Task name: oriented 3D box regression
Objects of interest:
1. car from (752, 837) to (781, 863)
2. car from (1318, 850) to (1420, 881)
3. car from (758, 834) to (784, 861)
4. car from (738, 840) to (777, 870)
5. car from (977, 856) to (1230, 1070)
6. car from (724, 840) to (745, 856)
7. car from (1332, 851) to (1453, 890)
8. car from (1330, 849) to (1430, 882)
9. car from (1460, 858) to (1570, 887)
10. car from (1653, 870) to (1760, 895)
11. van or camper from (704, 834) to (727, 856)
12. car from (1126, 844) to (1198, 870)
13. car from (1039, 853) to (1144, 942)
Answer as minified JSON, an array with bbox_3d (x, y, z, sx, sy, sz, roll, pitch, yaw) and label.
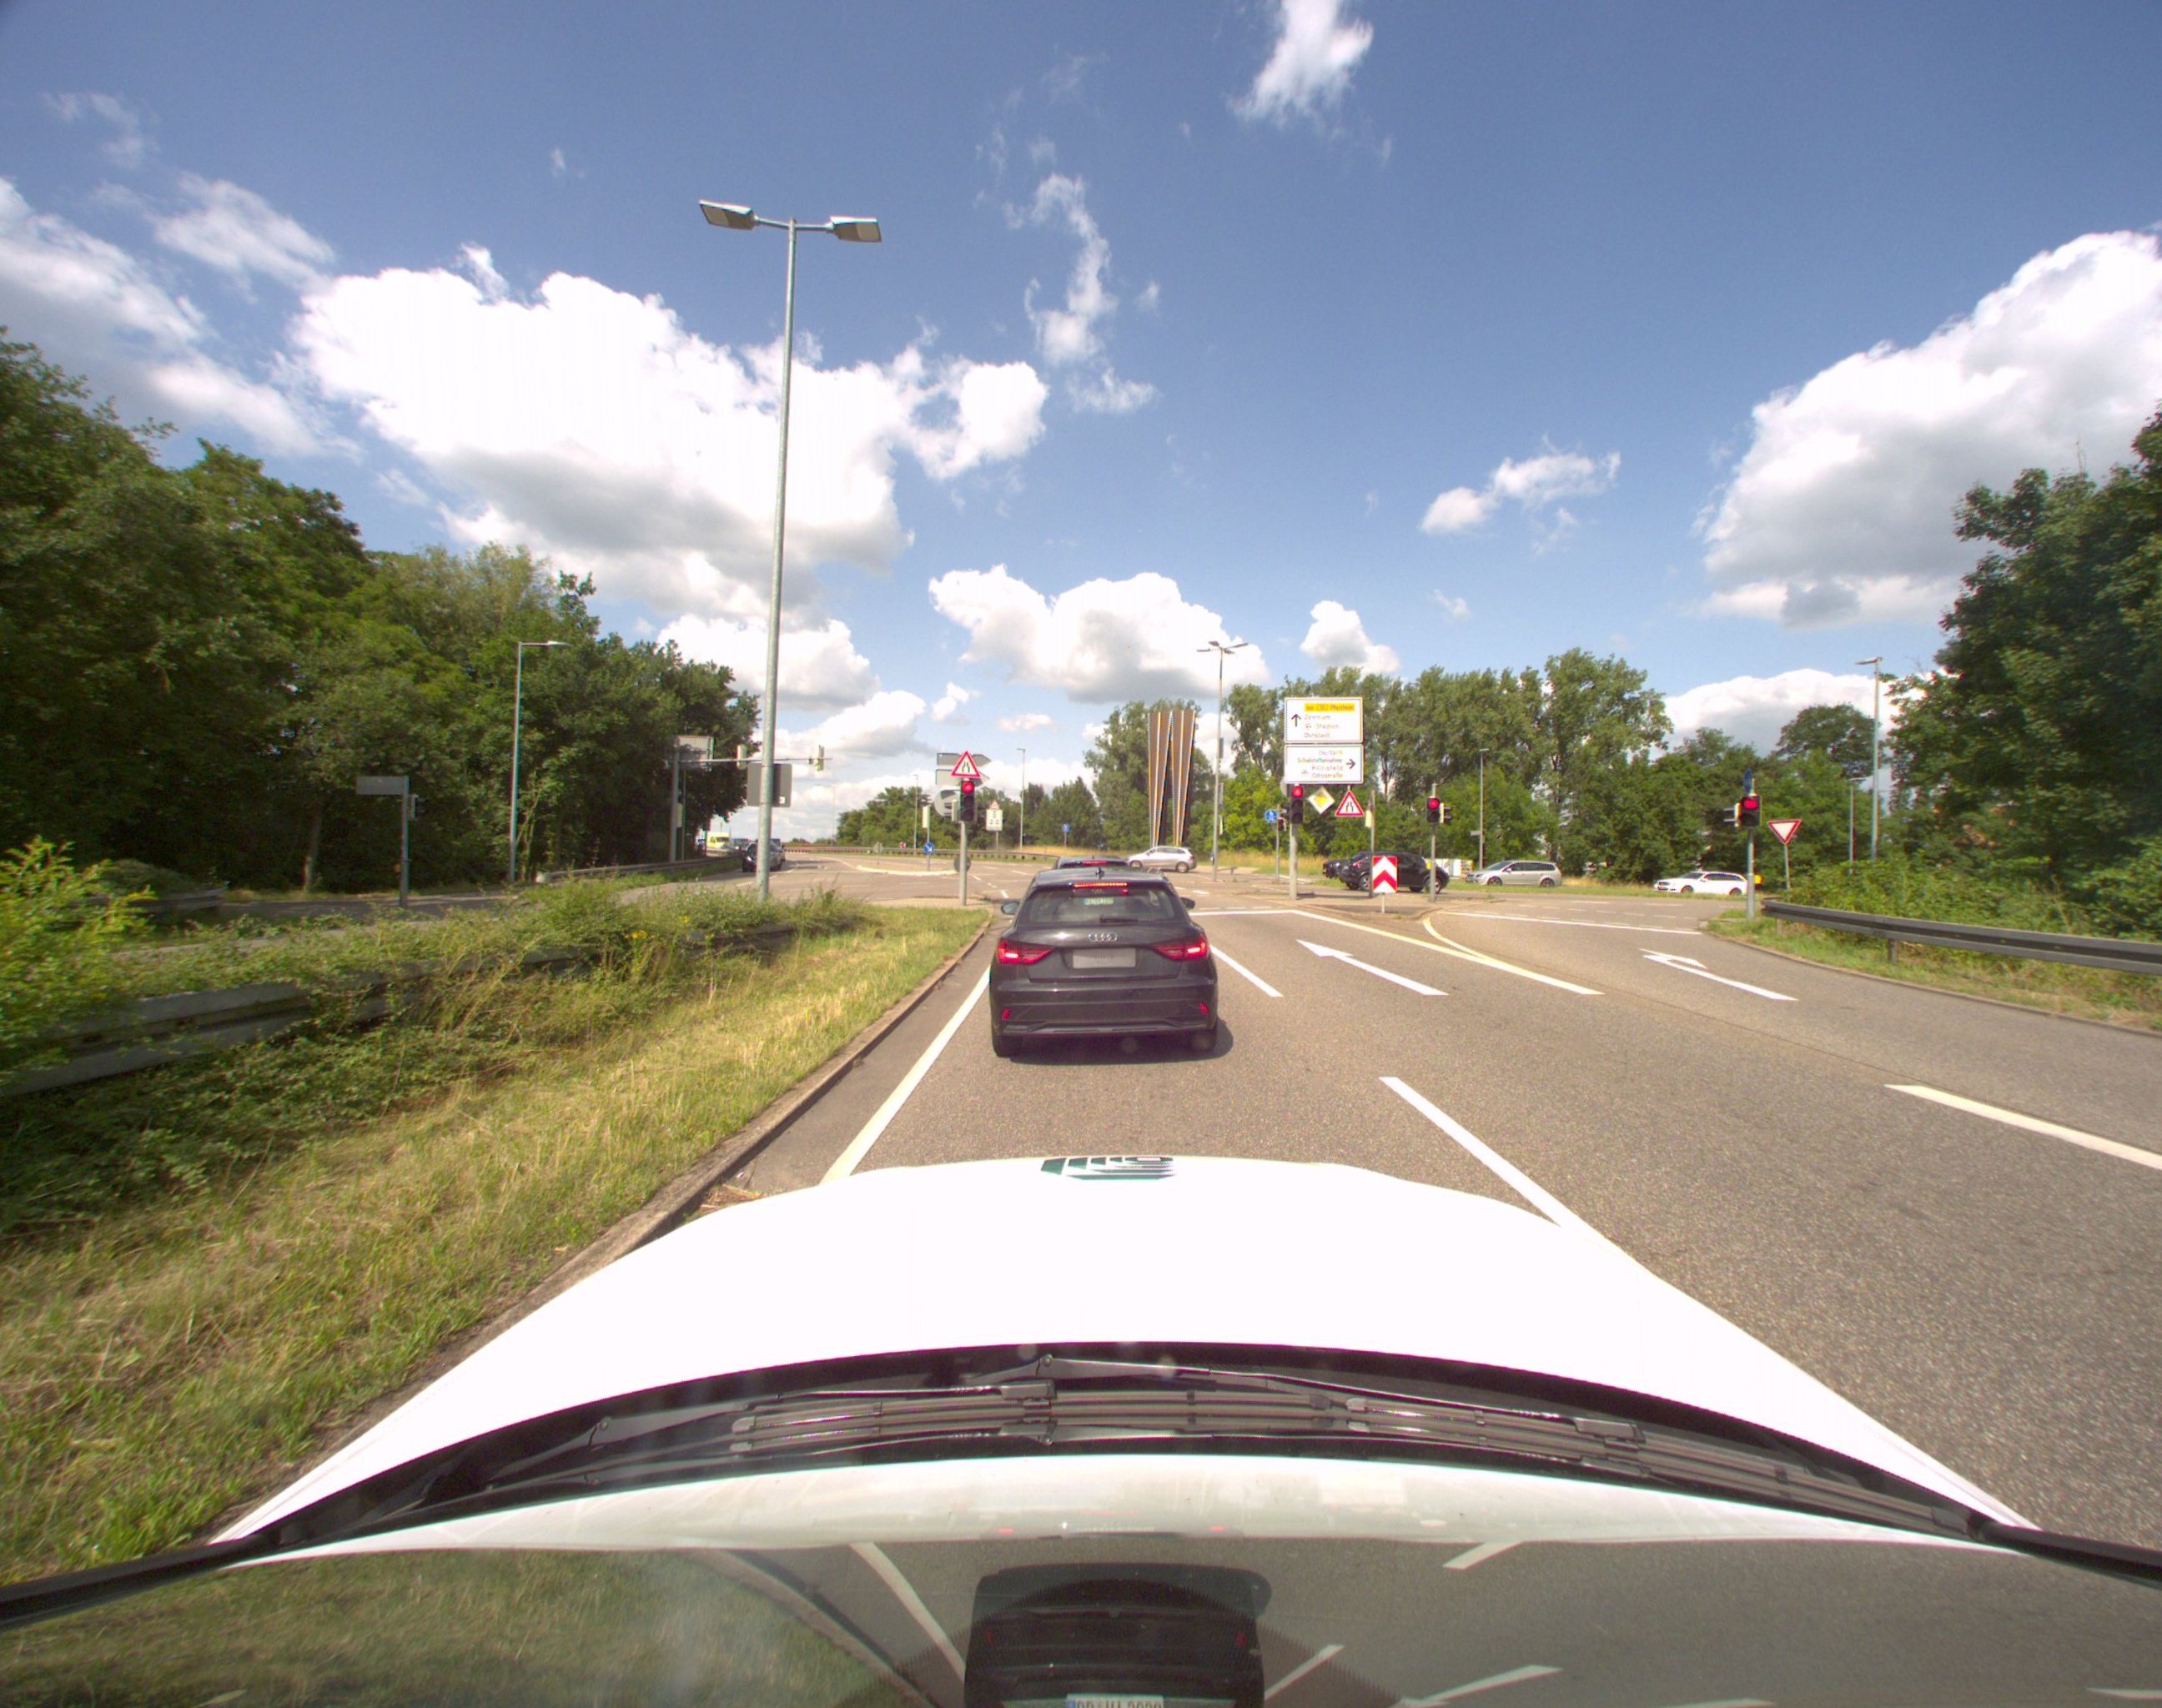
[{"bbox_3d":[-23.209,-0.290,60.204,1.849,1.802,4.299,1,0,-19],"label":"car"},{"bbox_3d":[15.321,0.601,43.514,4.831,1.545,1.737,1,0,0],"label":"car"},{"bbox_3d":[-25.763,-0.539,67.615,1.850,2.100,4.295,1,0,-22],"label":"car"},{"bbox_3d":[-18.272,0.096,46.148,1.844,1.618,3.974,0,-1,-19],"label":"car"},{"bbox_3d":[0.216,0.764,7.651,1.720,1.404,4.002,-1,0,2],"label":"car"},{"bbox_3d":[-38.827,-0.706,91.254,1.853,1.705,4.289,1,0,-26],"label":"car"},{"bbox_3d":[12.027,0.621,31.617,3.944,1.418,1.953,1,0,0],"label":"car"},{"bbox_3d":[14.515,0.546,39.677,4.253,1.545,1.737,1,0,0],"label":"car"},{"bbox_3d":[21.103,0.885,39.698,4.460,1.320,1.736,1,0,-2],"label":"car"},{"bbox_3d":[33.597,1.516,43.814,4.481,1.281,1.736,1,0,-2],"label":"car"},{"bbox_3d":[-46.627,-1.153,103.920,2.006,2.683,6.798,0,0,-30],"label":"van or camper"},{"bbox_3d":[4.842,0.174,48.306,4.081,1.496,2.006,1,0,10],"label":"car"},{"bbox_3d":[0.101,0.718,15.460,1.722,1.423,3.841,-1,0,-2],"label":"car"}]
